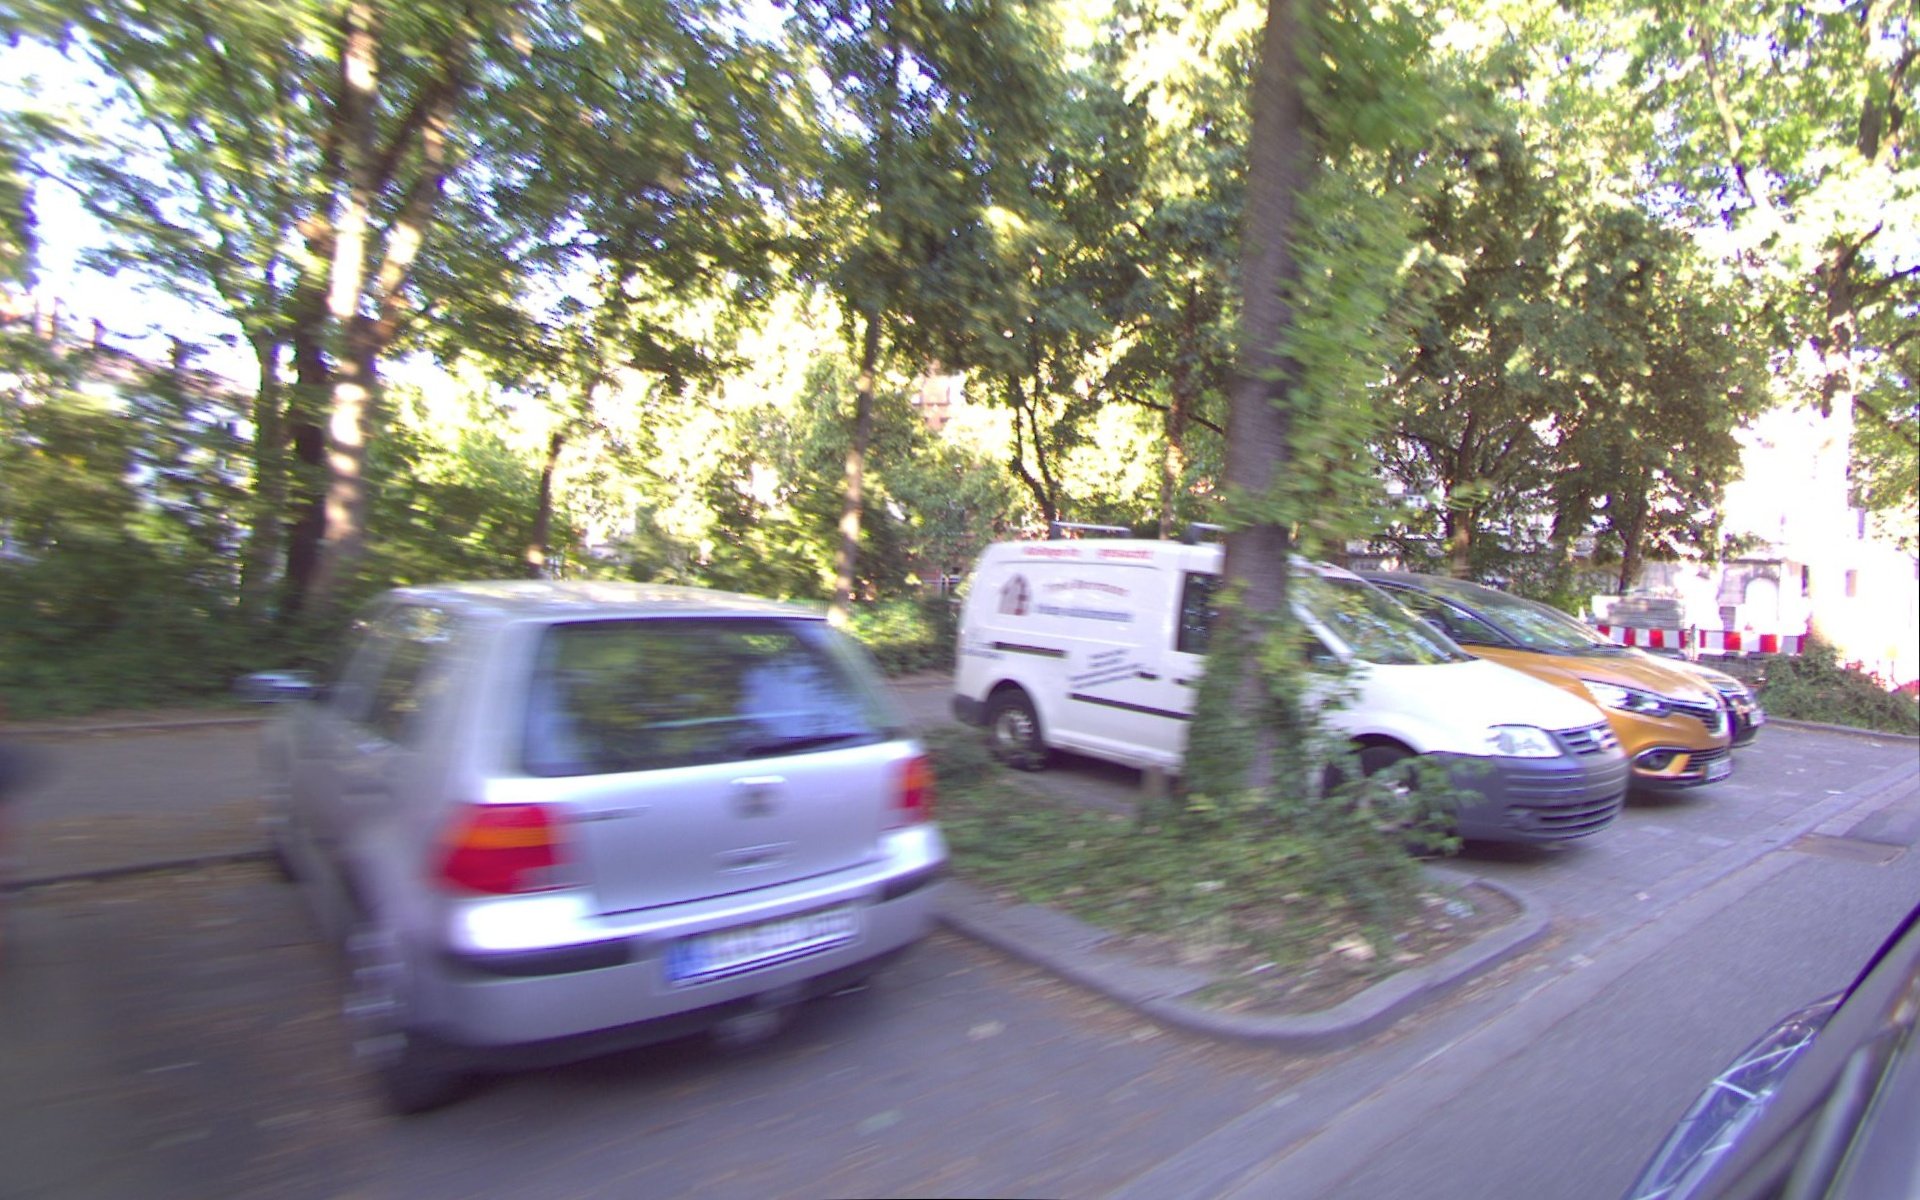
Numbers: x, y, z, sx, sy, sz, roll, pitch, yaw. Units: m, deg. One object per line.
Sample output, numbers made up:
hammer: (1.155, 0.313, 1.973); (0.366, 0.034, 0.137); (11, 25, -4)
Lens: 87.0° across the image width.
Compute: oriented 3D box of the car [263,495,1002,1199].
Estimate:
car: (-1.724, 0.581, 4.089); (1.635, 1.594, 3.998); (1, 0, -37)

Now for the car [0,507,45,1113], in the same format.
car: (-3.254, 0.566, 2.328); (1.559, 1.594, 3.994); (1, 0, -41)

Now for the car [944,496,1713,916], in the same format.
car: (2.110, 0.349, 7.064); (1.839, 1.948, 4.682); (1, 3, -40)

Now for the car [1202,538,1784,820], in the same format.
car: (4.180, 0.490, 8.544); (1.764, 1.780, 4.000); (1, 0, -35)

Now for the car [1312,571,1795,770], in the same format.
car: (5.942, 0.577, 10.477); (1.768, 1.648, 3.991); (1, 0, -43)
